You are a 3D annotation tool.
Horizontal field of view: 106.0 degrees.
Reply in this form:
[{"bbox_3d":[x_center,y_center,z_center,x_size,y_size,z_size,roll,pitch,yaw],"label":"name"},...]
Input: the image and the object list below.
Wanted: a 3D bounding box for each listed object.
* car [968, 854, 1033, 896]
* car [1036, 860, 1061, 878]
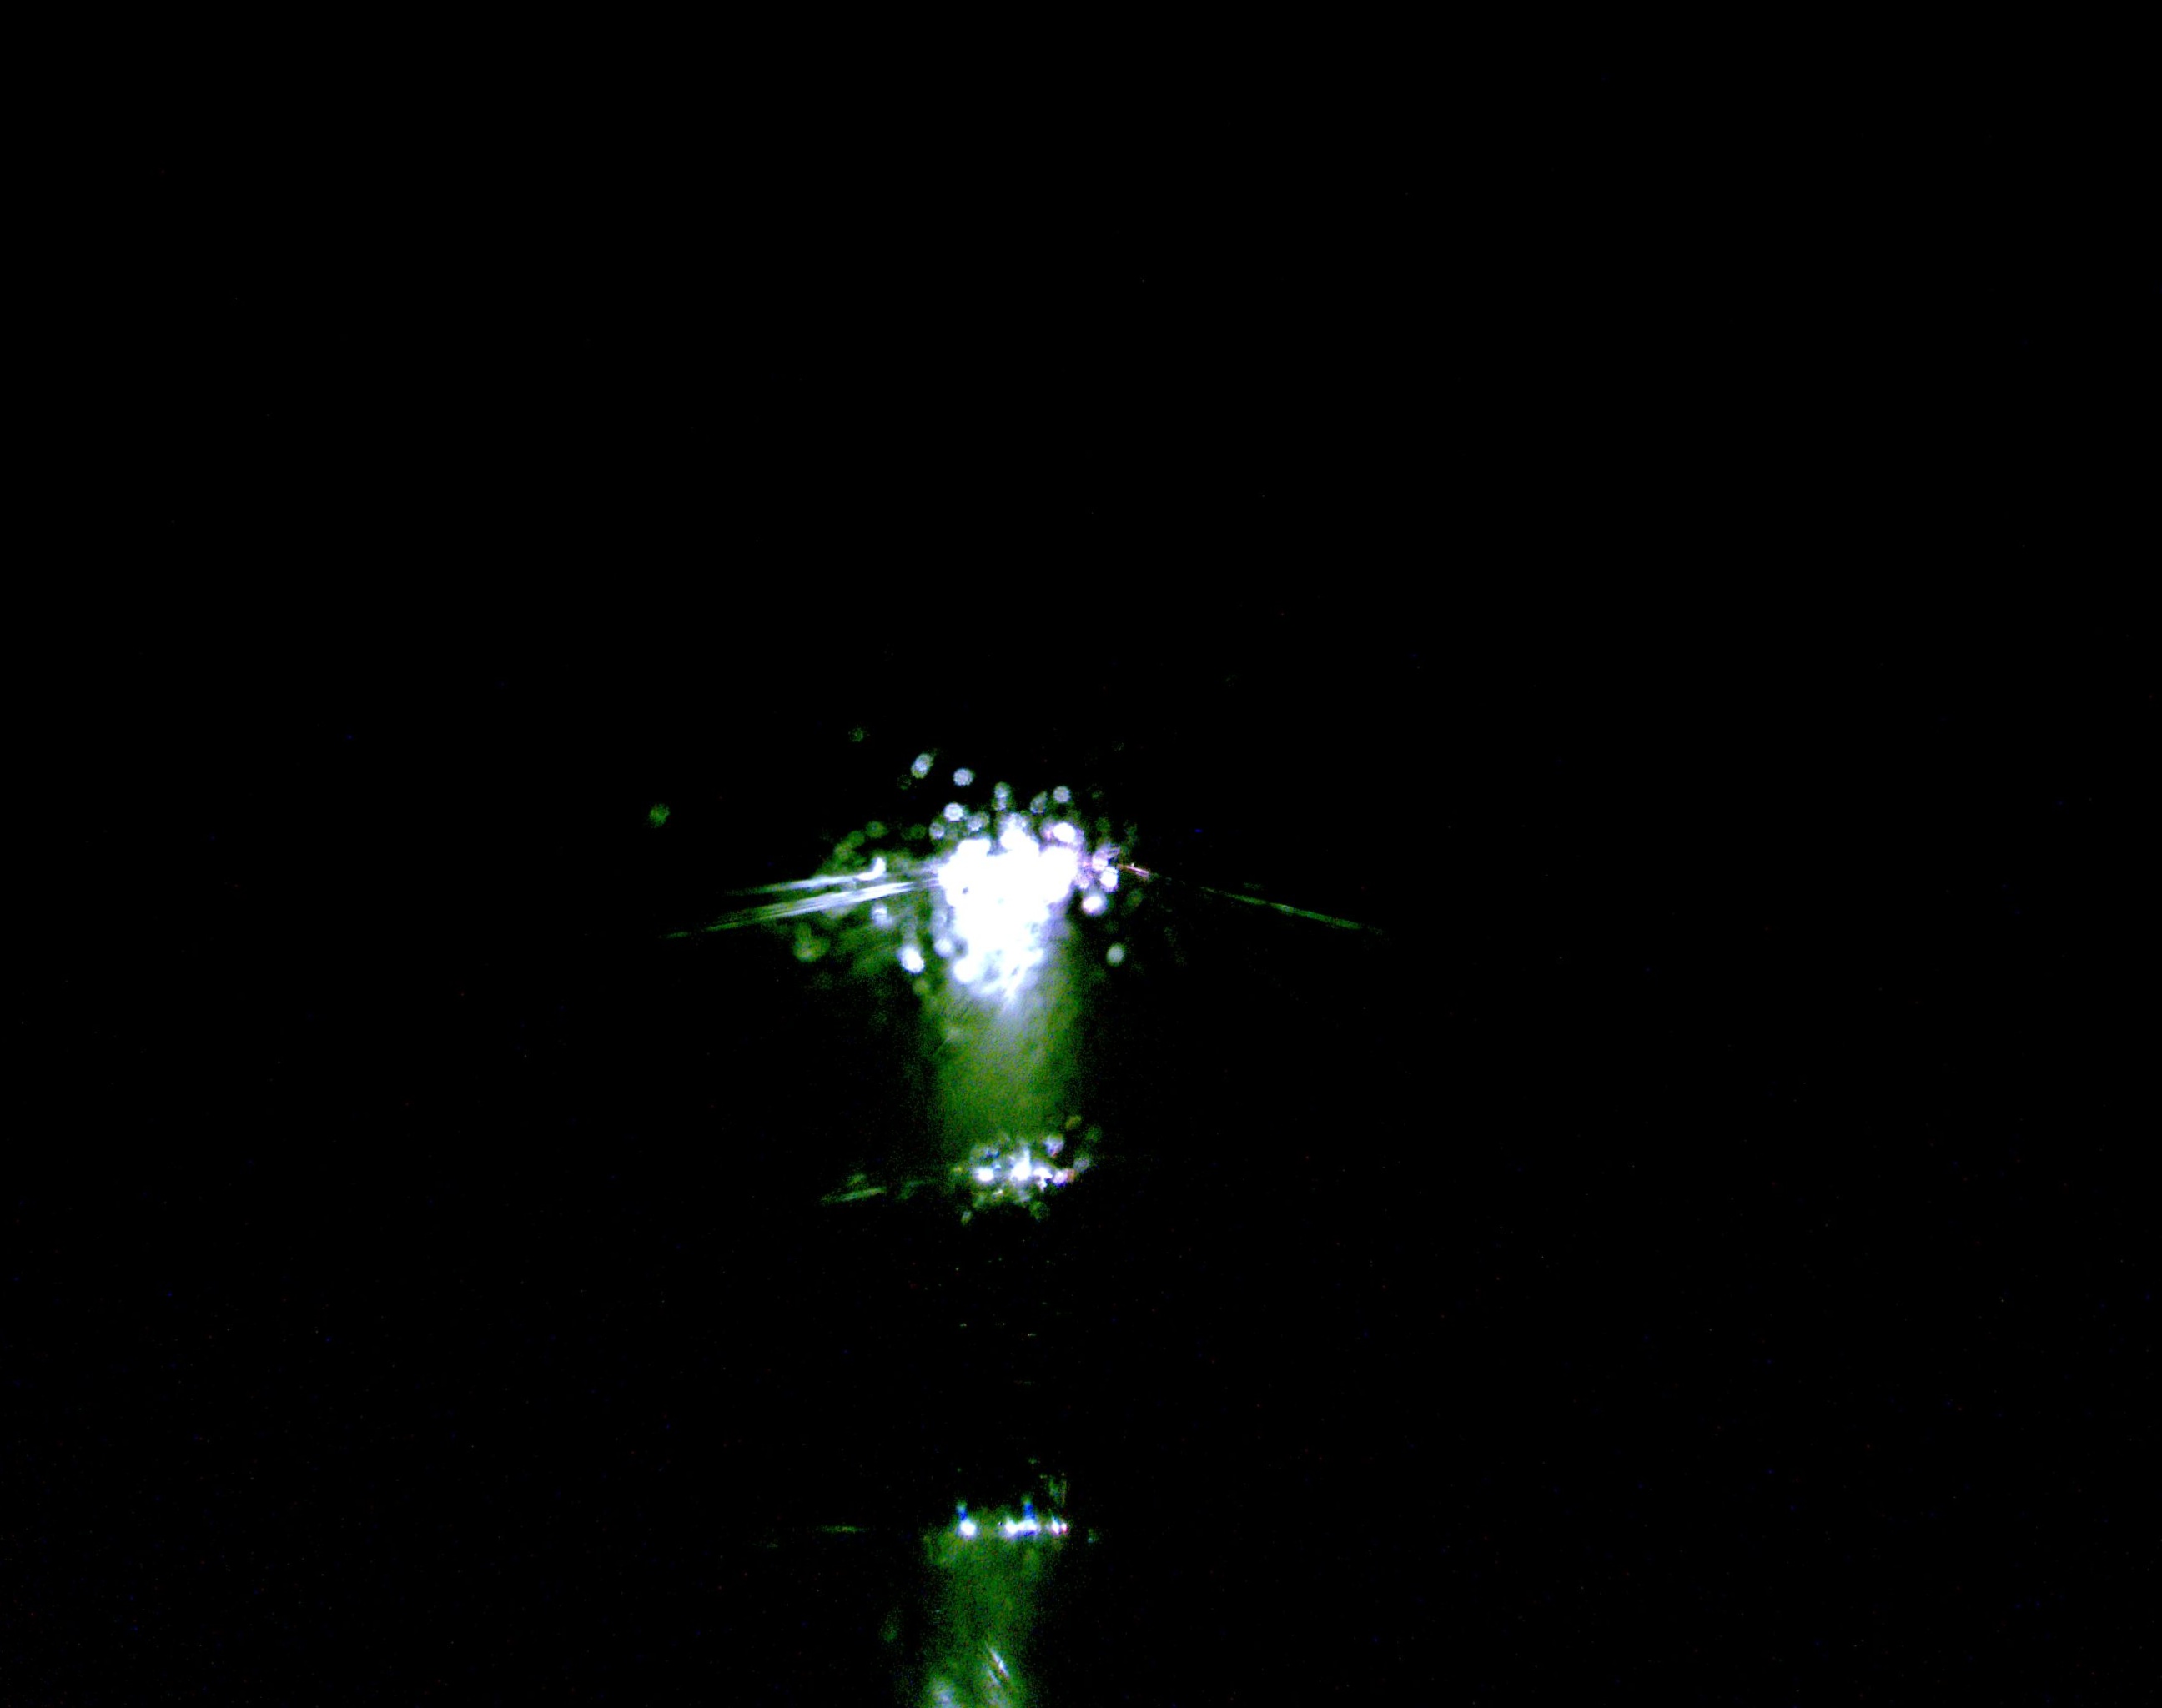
[{"bbox_3d":[-2.928,0.732,30.328,1.987,1.472,3.836,0,0,1],"label":"car"},{"bbox_3d":[-2.479,1.174,62.786,1.800,1.338,4.188,0,-1,0],"label":"car"}]
